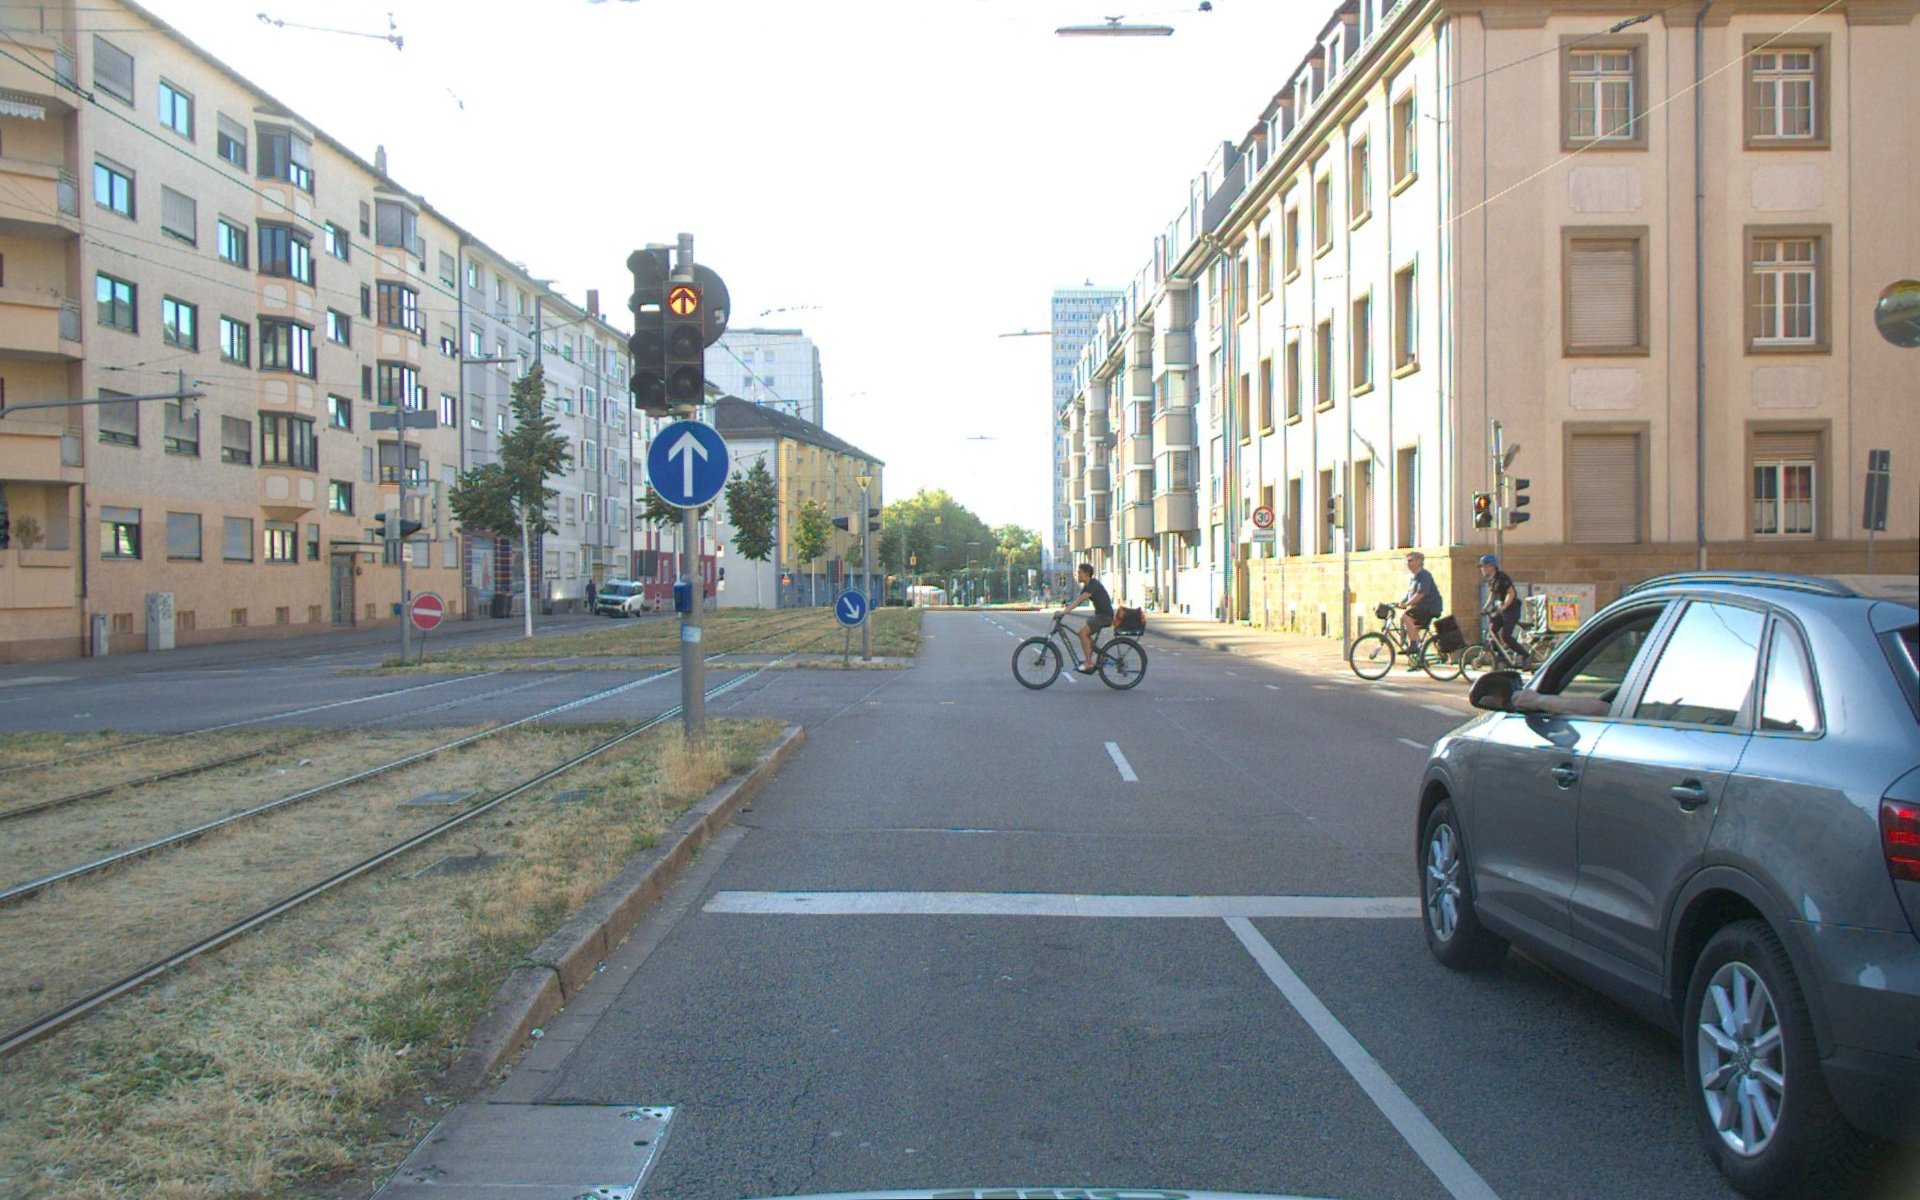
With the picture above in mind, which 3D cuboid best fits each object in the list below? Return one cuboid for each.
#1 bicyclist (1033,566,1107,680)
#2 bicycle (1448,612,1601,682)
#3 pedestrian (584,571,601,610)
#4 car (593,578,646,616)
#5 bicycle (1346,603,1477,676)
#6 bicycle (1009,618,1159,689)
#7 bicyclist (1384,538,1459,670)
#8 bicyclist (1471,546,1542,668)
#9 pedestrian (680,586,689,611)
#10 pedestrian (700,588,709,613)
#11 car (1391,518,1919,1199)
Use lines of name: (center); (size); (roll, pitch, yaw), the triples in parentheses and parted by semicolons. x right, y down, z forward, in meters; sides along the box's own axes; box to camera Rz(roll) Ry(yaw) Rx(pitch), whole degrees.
bicyclist: (1.521, 0.310, 23.028); (0.887, 1.553, 0.646); (-1, 0, -11)
bicycle: (8.471, 0.699, 24.850); (2.031, 0.975, 0.746); (1, 0, -4)
pedestrian: (-19.442, -0.517, 87.506); (0.771, 2.049, 0.890); (-1, 0, -4)
car: (-17.542, -0.144, 85.346); (1.774, 1.829, 4.245); (1, 0, 1)
bicycle: (7.061, 0.617, 25.910); (1.905, 1.113, 0.575); (0, 0, -4)
bicycle: (1.718, 0.730, 23.073); (1.943, 0.909, 0.784); (-2, 0, -11)
bicyclist: (7.210, 0.065, 25.866); (0.940, 2.023, 0.672); (-1, 0, -3)
bicyclist: (8.187, 0.100, 24.812); (0.777, 1.784, 0.720); (1, 0, -3)
pedestrian: (-18.322, -0.107, 110.028); (0.485, 1.687, 0.408); (-1, 0, 0)
pedestrian: (-17.046, 0.026, 110.354); (0.485, 1.687, 0.408); (-1, 0, 0)
car: (2.817, 0.605, 5.324); (1.734, 1.603, 4.085); (-1, 0, -1)
